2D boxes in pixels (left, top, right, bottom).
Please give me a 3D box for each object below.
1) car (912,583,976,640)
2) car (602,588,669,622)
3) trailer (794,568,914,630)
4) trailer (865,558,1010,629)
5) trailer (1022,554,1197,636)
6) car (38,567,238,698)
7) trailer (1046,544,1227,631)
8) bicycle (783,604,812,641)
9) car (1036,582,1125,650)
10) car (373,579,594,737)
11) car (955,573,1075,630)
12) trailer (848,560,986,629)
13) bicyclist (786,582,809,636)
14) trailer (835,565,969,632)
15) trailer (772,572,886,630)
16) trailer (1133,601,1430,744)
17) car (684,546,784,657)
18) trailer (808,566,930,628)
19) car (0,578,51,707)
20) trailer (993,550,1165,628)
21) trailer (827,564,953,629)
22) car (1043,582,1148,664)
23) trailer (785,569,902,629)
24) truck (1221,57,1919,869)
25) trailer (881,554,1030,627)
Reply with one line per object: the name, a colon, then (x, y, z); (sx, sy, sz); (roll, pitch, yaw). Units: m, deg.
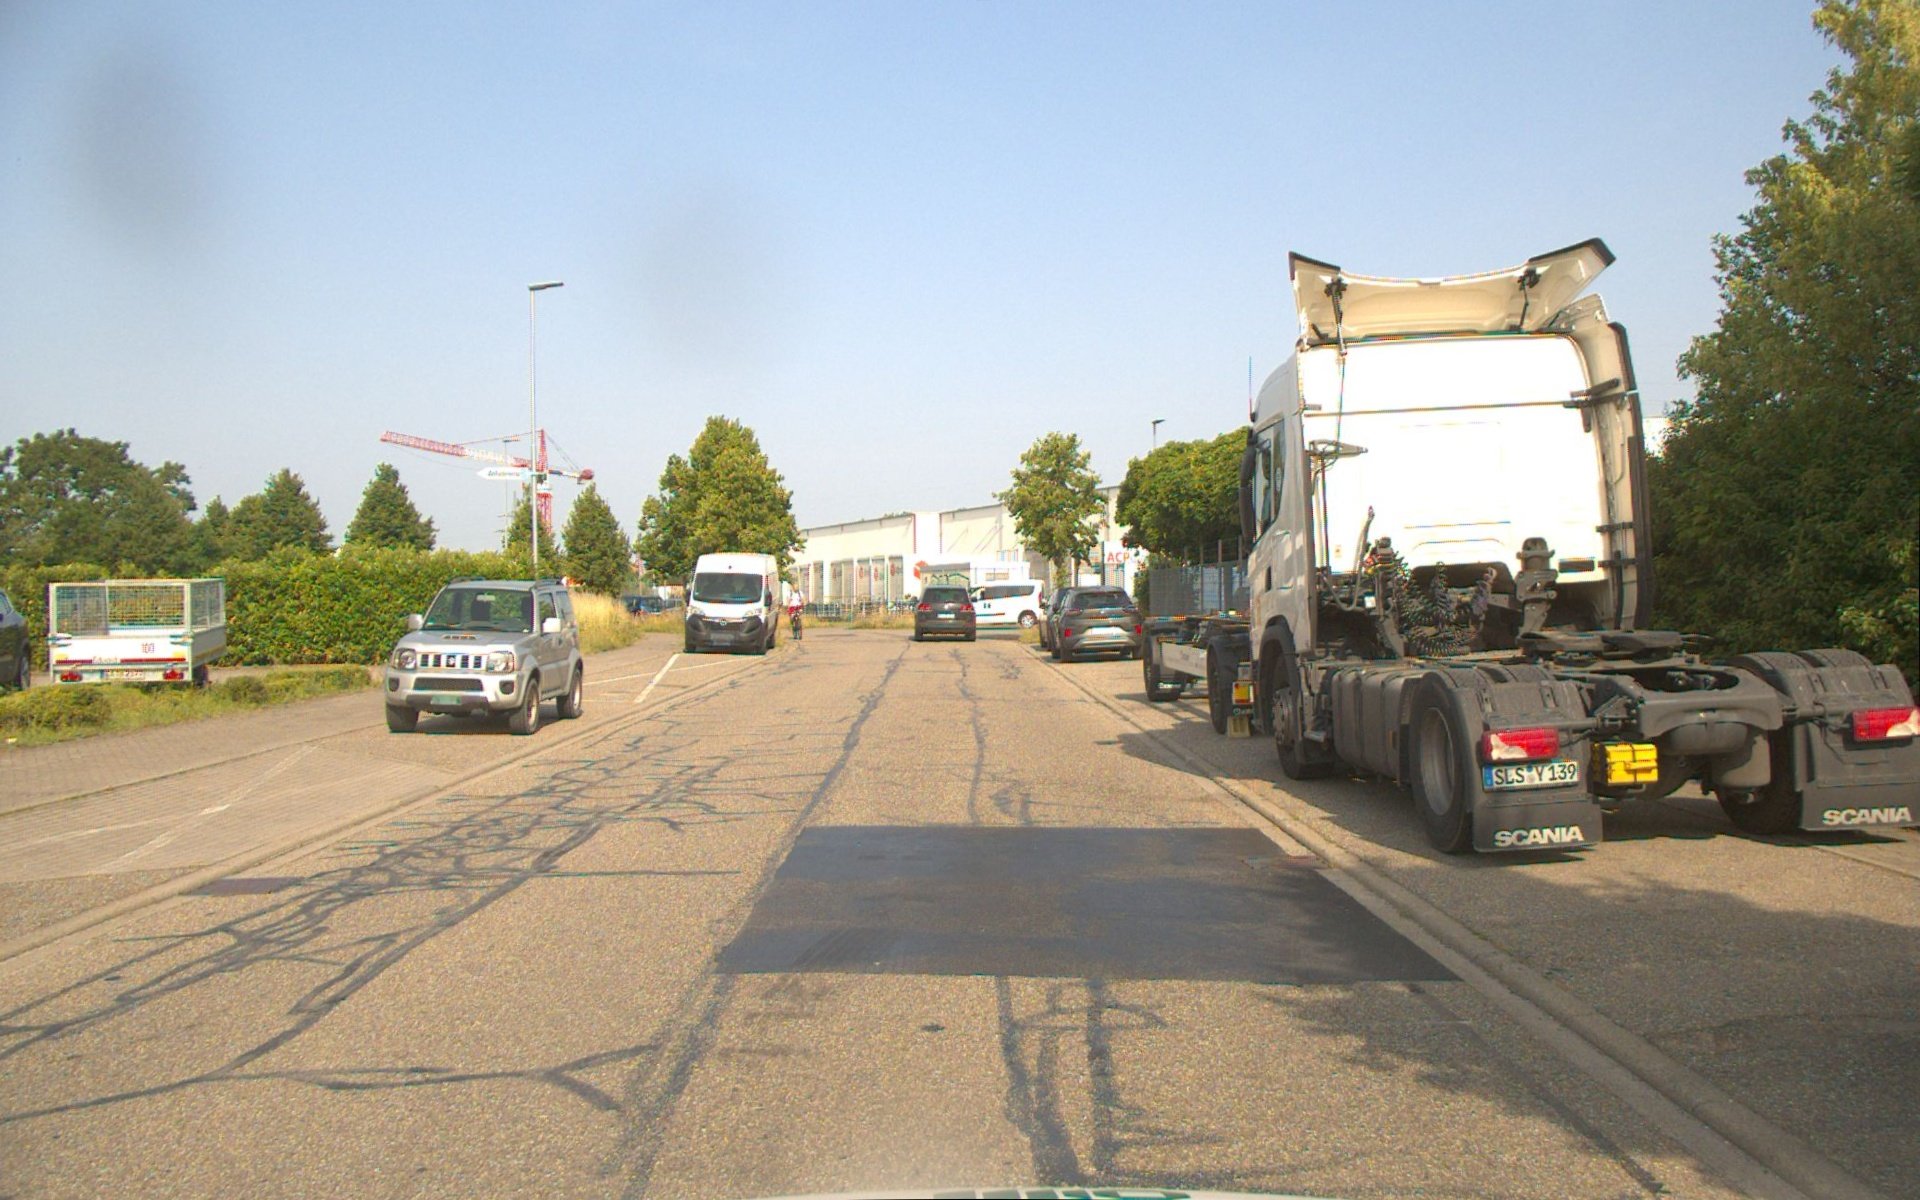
car: (-0.490, 0.372, 51.529); (1.842, 1.614, 4.112); (3, -1, -1)
car: (-15.875, 0.272, 80.751); (1.950, 1.601, 4.068); (0, -1, -32)
trailer: (-7.462, -0.067, 116.402); (7.860, 3.962, 2.754); (3, -1, -25)
trailer: (-1.369, -0.386, 101.696); (8.426, 3.962, 2.754); (3, -1, -25)
trailer: (7.489, -0.282, 82.648); (8.420, 3.962, 2.756); (0, 0, -23)
car: (-11.170, 0.420, 22.735); (1.804, 1.599, 3.798); (2, -1, -17)
trailer: (8.520, -0.533, 79.887); (8.417, 3.962, 2.756); (1, -3, -23)
bicycle: (-5.323, 0.717, 54.148); (0.701, 1.142, 2.219); (-2, 0, -1)
car: (3.015, 0.415, 42.367); (1.842, 1.601, 5.117); (-2, -1, 0)
car: (-5.457, 0.606, 19.362); (1.564, 1.680, 3.644); (0, 0, -1)
car: (2.163, 0.067, 63.904); (4.512, 2.147, 2.129); (0, -1, 5)
trailer: (-2.696, -0.327, 104.364); (8.200, 3.962, 2.754); (3, -1, -25)
bicyclist: (-5.325, 0.286, 54.280); (0.626, 1.749, 1.165); (0, 0, -1)
trailer: (-3.741, -0.045, 107.232); (8.200, 3.962, 2.754); (3, -1, -25)
trailer: (-9.644, 0.104, 121.889); (7.860, 3.962, 2.754); (3, -1, -25)
trailer: (3.407, 0.683, 19.245); (1.899, 1.257, 7.450); (-2, 0, -1)
car: (-5.910, 0.041, 44.014); (2.060, 2.640, 6.499); (2, 0, -4)
trailer: (-6.239, -0.187, 113.667); (7.860, 3.962, 2.754); (3, -1, -25)
car: (-13.783, 0.549, 22.192); (1.958, 1.687, 4.399); (1, 0, -18)
trailer: (6.149, -0.497, 85.335); (8.618, 3.827, 2.769); (1, -1, -25)
trailer: (-4.714, -0.205, 111.112); (7.929, 3.962, 2.754); (3, -1, -25)
car: (2.828, 0.482, 35.386); (1.842, 1.601, 4.112); (-1, -1, -1)
trailer: (-8.395, -0.042, 119.211); (7.860, 3.962, 2.754); (3, -1, -25)
truck: (3.788, -0.719, 11.421); (2.638, 4.033, 6.045); (-2, 0, -3)
trailer: (-0.244, -0.538, 98.712); (8.426, 3.962, 2.754); (3, -1, -25)
